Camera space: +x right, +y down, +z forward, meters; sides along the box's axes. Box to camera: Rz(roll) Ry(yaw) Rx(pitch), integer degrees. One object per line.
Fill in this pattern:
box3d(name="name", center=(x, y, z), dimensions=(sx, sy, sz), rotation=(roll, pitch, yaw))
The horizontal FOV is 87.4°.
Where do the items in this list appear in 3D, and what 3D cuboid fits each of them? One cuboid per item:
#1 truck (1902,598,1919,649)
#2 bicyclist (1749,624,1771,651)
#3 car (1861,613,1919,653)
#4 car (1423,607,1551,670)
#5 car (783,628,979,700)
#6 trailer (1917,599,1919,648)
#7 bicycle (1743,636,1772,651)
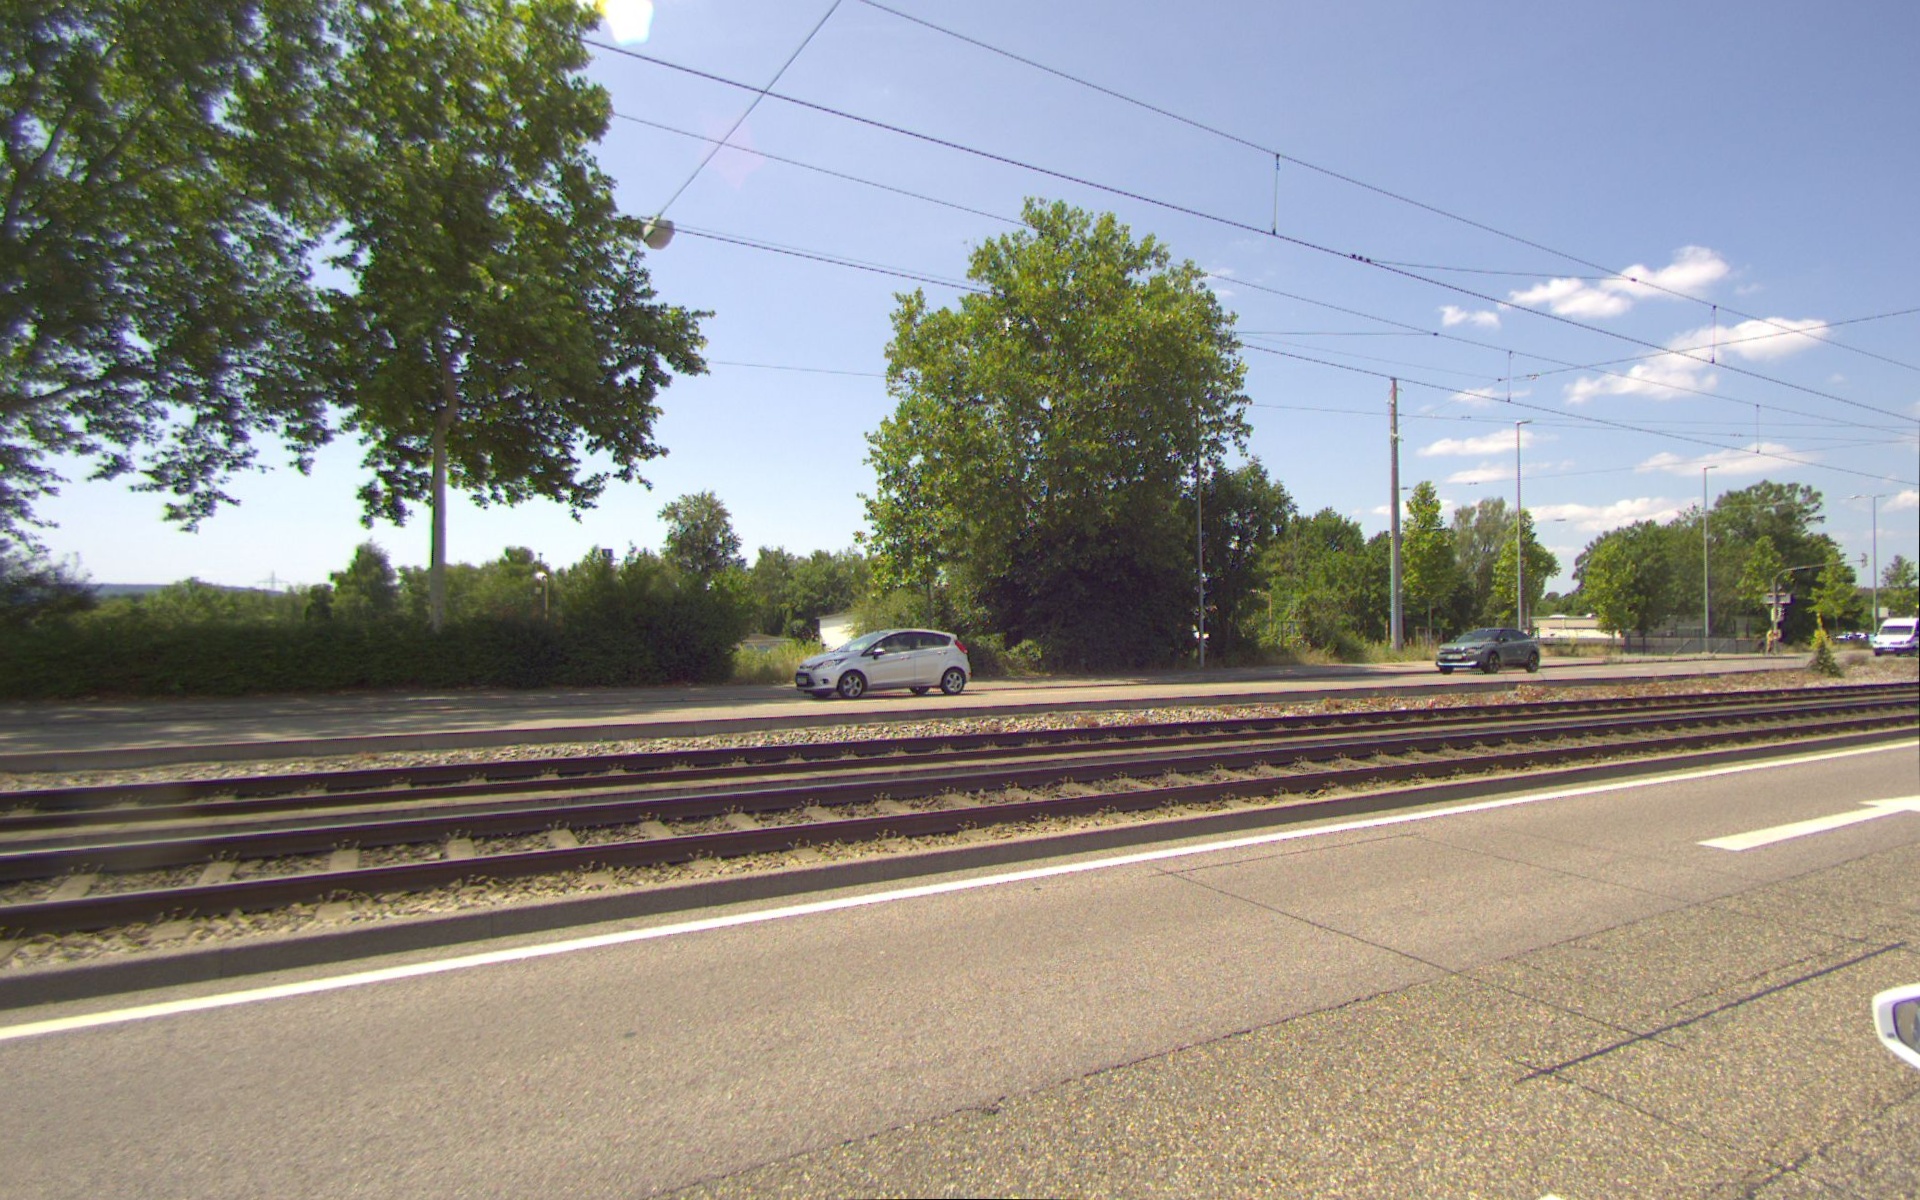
box3d(name="truck", center=(71.859, 1.749, 73.378), dimensions=(6.364, 3.616, 2.754), rotation=(1, 0, -30))
box3d(name="bicyclist", center=(54.842, 2.583, 68.888), dimensions=(0.337, 1.798, 1.112), rotation=(1, 0, -34))
box3d(name="car", center=(64.299, 2.214, 68.707), dimensions=(6.164, 2.623, 2.232), rotation=(0, -3, -32))
box3d(name="car", center=(17.897, 1.263, 34.046), dimensions=(4.364, 1.944, 1.981), rotation=(1, 1, -34))
box3d(name="car", center=(-1.691, 1.345, 21.720), dimensions=(3.841, 1.434, 1.813), rotation=(1, -3, -33))
box3d(name="trailer", center=(78.428, 1.888, 77.278), dimensions=(15.692, 3.565, 2.753), rotation=(1, 0, -31))
box3d(name="bicycle", center=(54.728, 2.980, 68.954), dimensions=(0.480, 1.000, 1.482), rotation=(1, 0, -33))
